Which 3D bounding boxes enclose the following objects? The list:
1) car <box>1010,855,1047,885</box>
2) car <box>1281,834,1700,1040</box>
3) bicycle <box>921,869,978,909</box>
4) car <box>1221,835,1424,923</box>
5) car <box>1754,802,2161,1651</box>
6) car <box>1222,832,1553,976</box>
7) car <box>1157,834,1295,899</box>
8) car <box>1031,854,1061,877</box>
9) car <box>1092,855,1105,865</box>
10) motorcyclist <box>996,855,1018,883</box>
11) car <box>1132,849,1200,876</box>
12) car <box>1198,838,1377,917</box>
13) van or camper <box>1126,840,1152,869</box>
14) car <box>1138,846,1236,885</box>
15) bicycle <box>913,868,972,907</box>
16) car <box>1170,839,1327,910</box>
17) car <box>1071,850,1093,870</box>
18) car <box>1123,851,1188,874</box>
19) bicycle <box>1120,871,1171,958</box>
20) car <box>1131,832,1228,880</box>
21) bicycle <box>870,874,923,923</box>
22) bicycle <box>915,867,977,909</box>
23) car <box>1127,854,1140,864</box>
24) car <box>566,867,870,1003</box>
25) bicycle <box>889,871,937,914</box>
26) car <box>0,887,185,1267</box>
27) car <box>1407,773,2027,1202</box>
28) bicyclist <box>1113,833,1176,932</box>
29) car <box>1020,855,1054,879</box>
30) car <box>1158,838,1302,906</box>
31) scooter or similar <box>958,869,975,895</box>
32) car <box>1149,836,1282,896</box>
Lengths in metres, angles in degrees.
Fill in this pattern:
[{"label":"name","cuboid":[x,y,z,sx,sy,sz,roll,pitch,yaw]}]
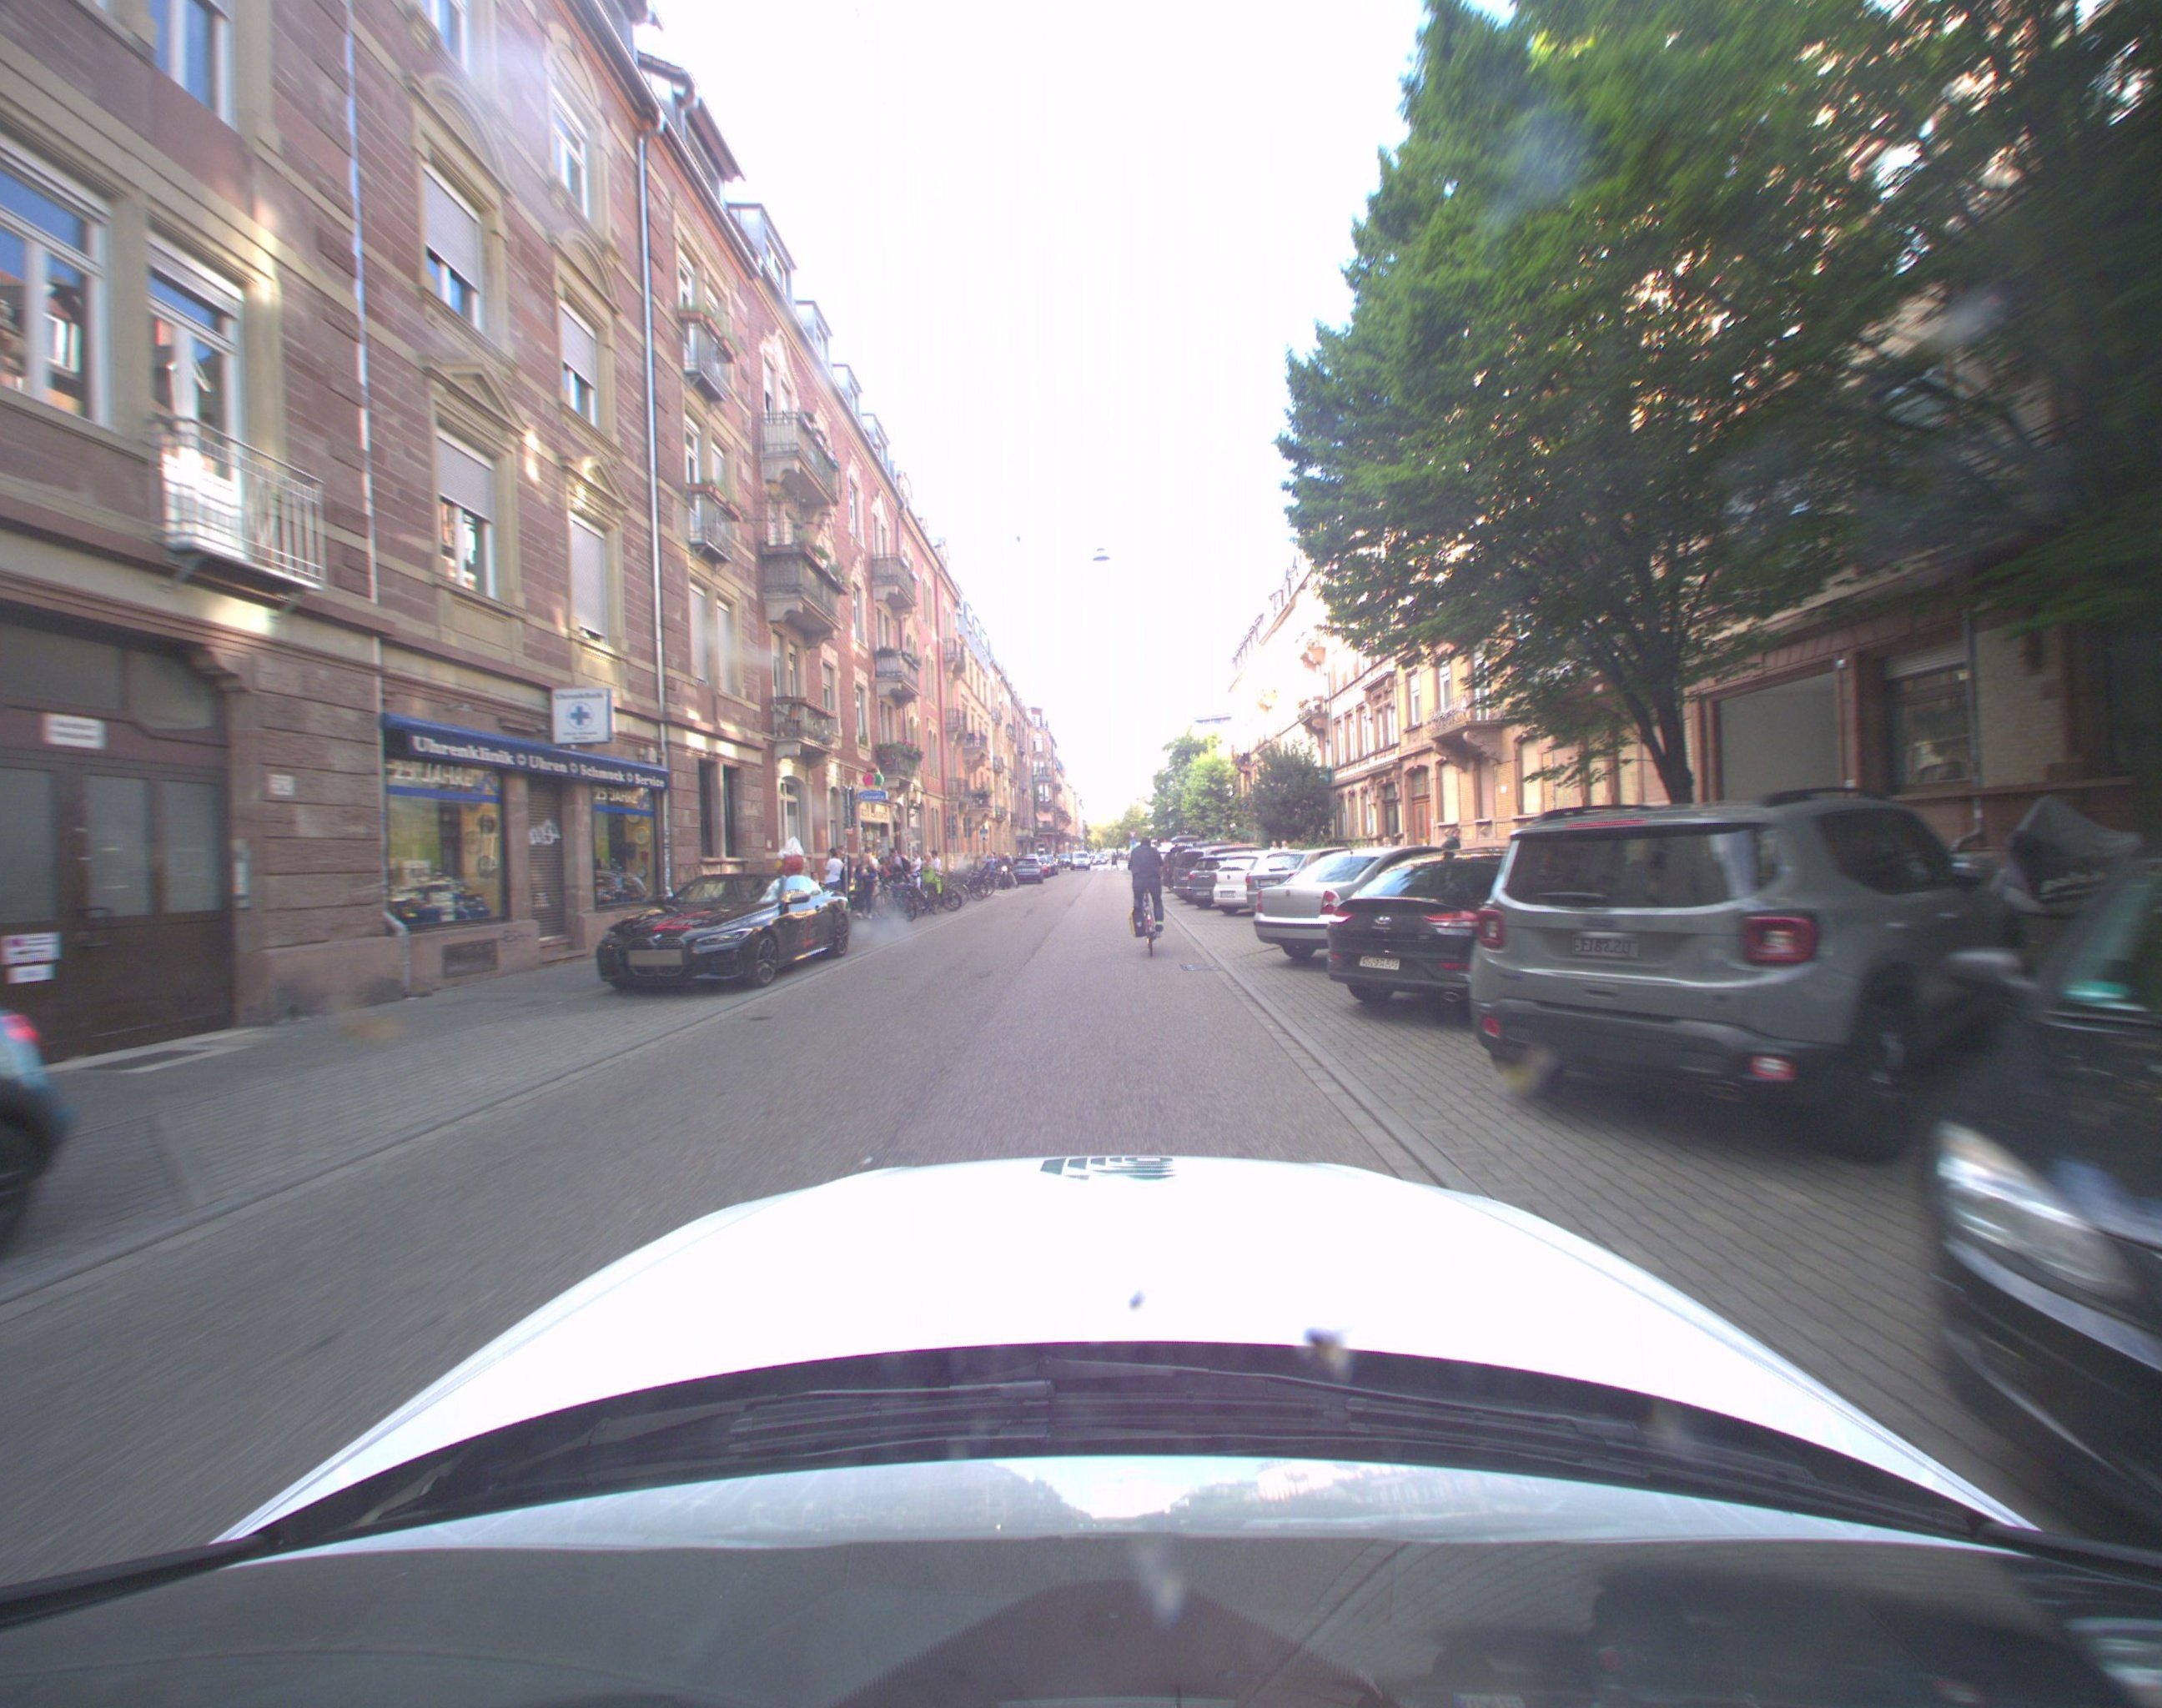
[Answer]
[{"label":"car","cuboid":[-2.902,0.850,45.927,1.820,1.578,5.260,-1,0,-1]},{"label":"car","cuboid":[4.120,0.602,7.997,4.154,1.417,1.849,-3,1,-34]},{"label":"bicycle","cuboid":[-3.919,1.039,24.254,1.577,1.120,0.584,-1,0,-35]},{"label":"car","cuboid":[5.104,0.494,17.080,4.017,1.461,1.867,-4,-1,-34]},{"label":"car","cuboid":[3.830,0.631,2.350,4.143,1.521,1.825,-1,-1,-35]},{"label":"car","cuboid":[4.375,0.576,11.417,4.627,1.451,1.775,-4,0,-30]},{"label":"car","cuboid":[4.904,0.409,27.405,4.417,1.822,1.738,-4,-1,-30]},{"label":"car","cuboid":[-2.650,0.853,62.800,1.783,1.628,4.850,-2,-1,2]},{"label":"car","cuboid":[2.501,0.850,115.666,1.744,1.436,4.211,-1,-1,1]},{"label":"motorcyclist","cuboid":[-3.436,0.692,37.874,1.011,1.245,0.802,-1,0,-4]},{"label":"car","cuboid":[5.903,0.579,56.563,4.486,1.464,1.860,-5,1,-33]},{"label":"car","cuboid":[4.967,0.531,19.509,4.013,1.450,1.719,-5,-1,-31]},{"label":"van or camper","cuboid":[6.384,0.047,90.082,2.523,3.037,4.458,-2,0,0]},{"label":"car","cuboid":[5.159,0.535,39.412,4.475,1.732,1.979,-2,0,-33]},{"label":"bicycle","cuboid":[-4.322,1.033,25.469,1.745,1.120,0.549,-1,0,-35]},{"label":"car","cuboid":[4.600,0.510,22.183,4.018,1.548,1.848,-5,1,-35]},{"label":"car","cuboid":[0.139,0.581,81.063,1.910,1.828,4.441,-1,0,2]},{"label":"car","cuboid":[5.929,0.627,64.991,4.779,1.456,2.039,-4,1,-26]},{"label":"bicycle","cuboid":[0.969,0.875,12.715,0.663,1.178,2.498,-1,0,2]},{"label":"car","cuboid":[5.469,0.101,45.137,5.178,2.405,1.899,-3,0,-31]},{"label":"bicycle","cuboid":[-4.479,1.061,19.748,1.561,1.117,0.376,-1,-1,41]},{"label":"bicycle","cuboid":[-4.113,1.019,24.875,1.798,1.200,0.585,-1,0,-35]},{"label":"car","cuboid":[8.468,0.750,132.522,1.985,1.486,4.003,-3,0,3]},{"label":"car","cuboid":[-4.565,0.909,11.299,1.805,1.351,5.116,-1,0,1]},{"label":"bicycle","cuboid":[-4.638,1.040,22.589,0.574,1.090,1.745,-1,0,15]},{"label":"car","cuboid":[-4.902,0.867,1.698,1.665,1.415,4.010,-1,0,-1]},{"label":"car","cuboid":[4.105,0.456,5.091,4.015,1.699,1.833,-3,1,-33]},{"label":"bicyclist","cuboid":[0.984,0.436,12.783,0.930,1.484,0.747,-1,0,1]},{"label":"car","cuboid":[-3.056,0.882,57.226,1.986,1.545,4.428,-2,0,1]},{"label":"car","cuboid":[4.549,0.512,24.763,4.012,1.741,1.822,-3,0,-29]},{"label":"scooter or similar","cuboid":[-4.714,1.149,33.566,0.604,1.055,0.921,-1,0,-3]},{"label":"car","cuboid":[5.011,0.407,30.689,4.621,1.784,1.810,-5,2,0]}]
